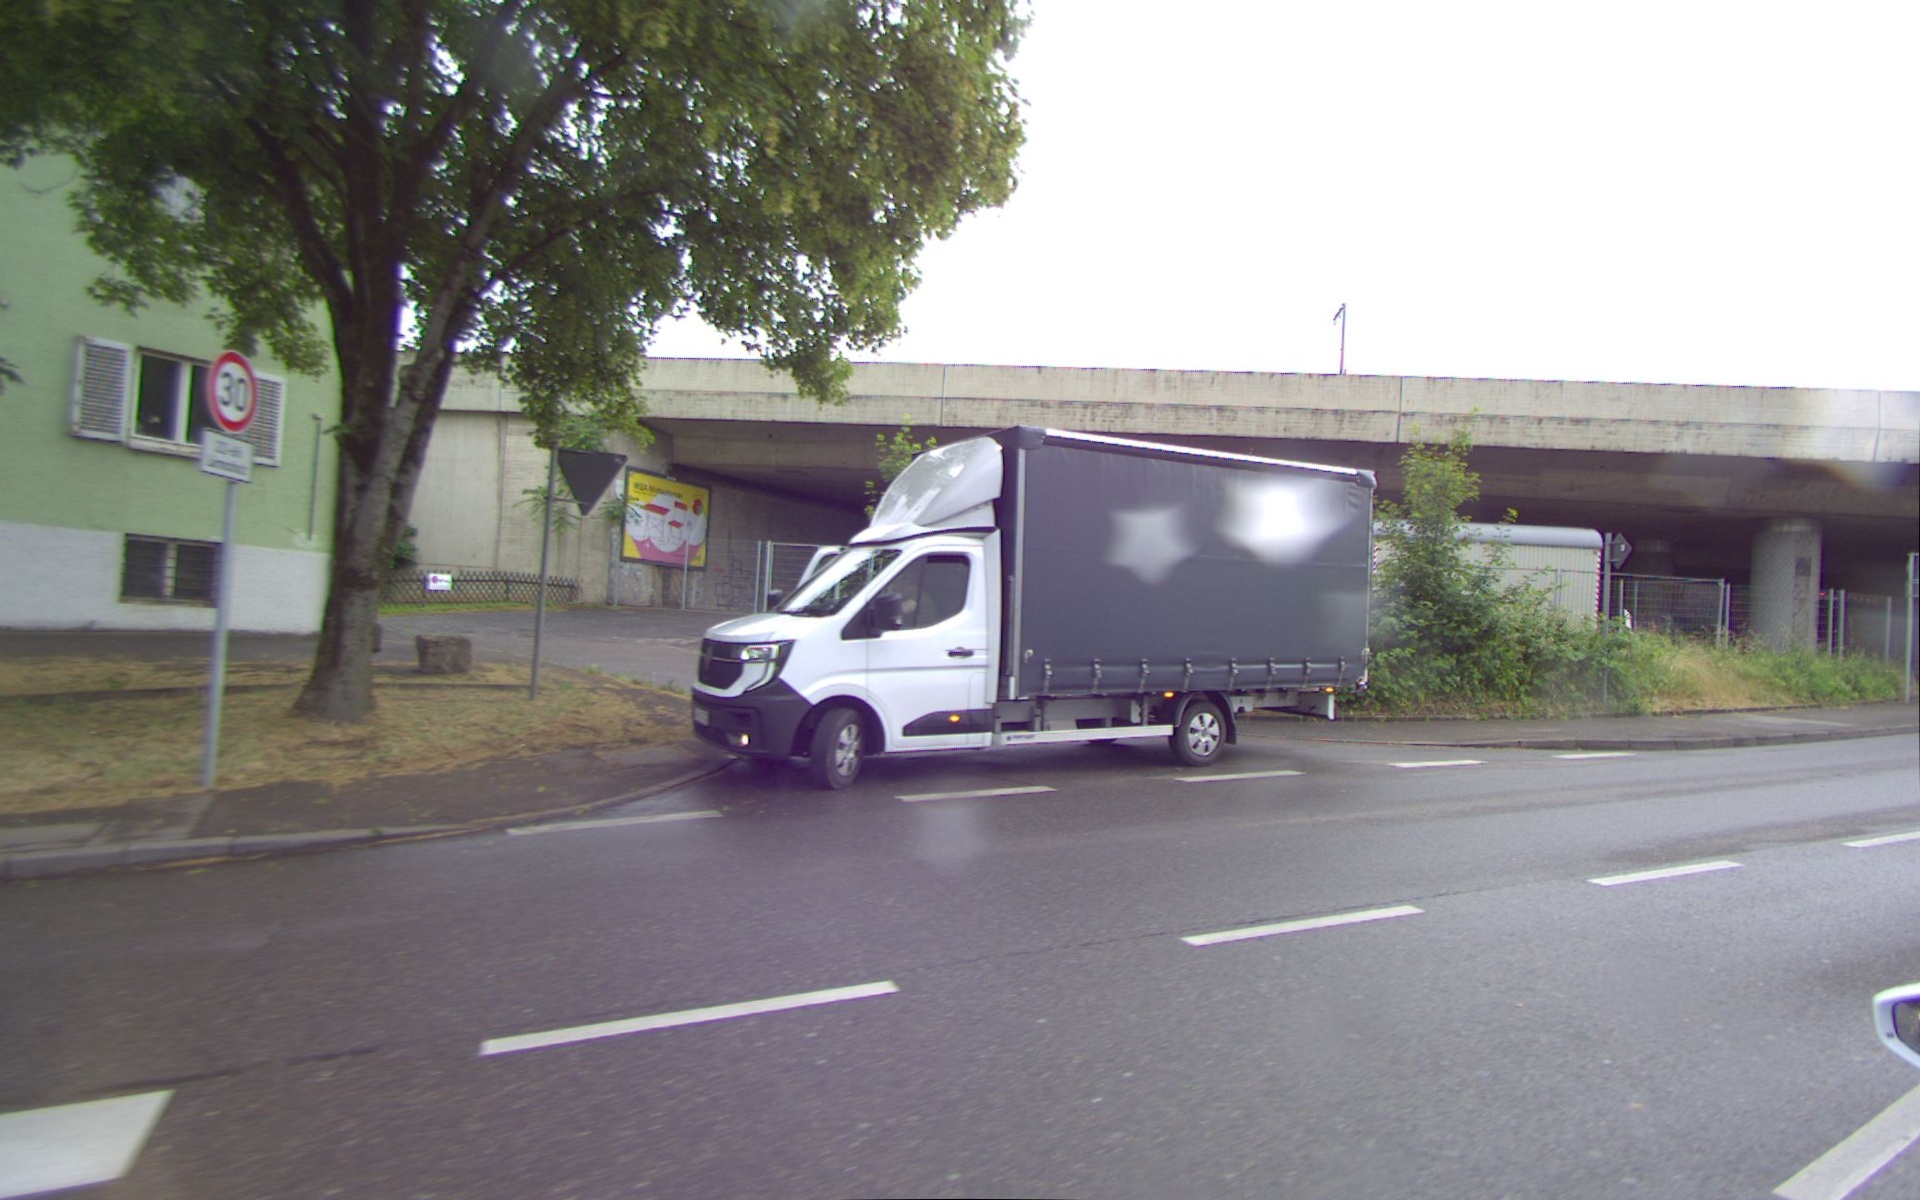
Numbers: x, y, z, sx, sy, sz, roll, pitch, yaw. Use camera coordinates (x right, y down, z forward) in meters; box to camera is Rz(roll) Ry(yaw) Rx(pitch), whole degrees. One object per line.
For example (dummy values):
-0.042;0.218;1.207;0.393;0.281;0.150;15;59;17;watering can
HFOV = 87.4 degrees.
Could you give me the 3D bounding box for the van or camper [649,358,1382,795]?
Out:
0.884;-0.066;10.876;7.670;3.379;2.685;2;-1;-30;van or camper
